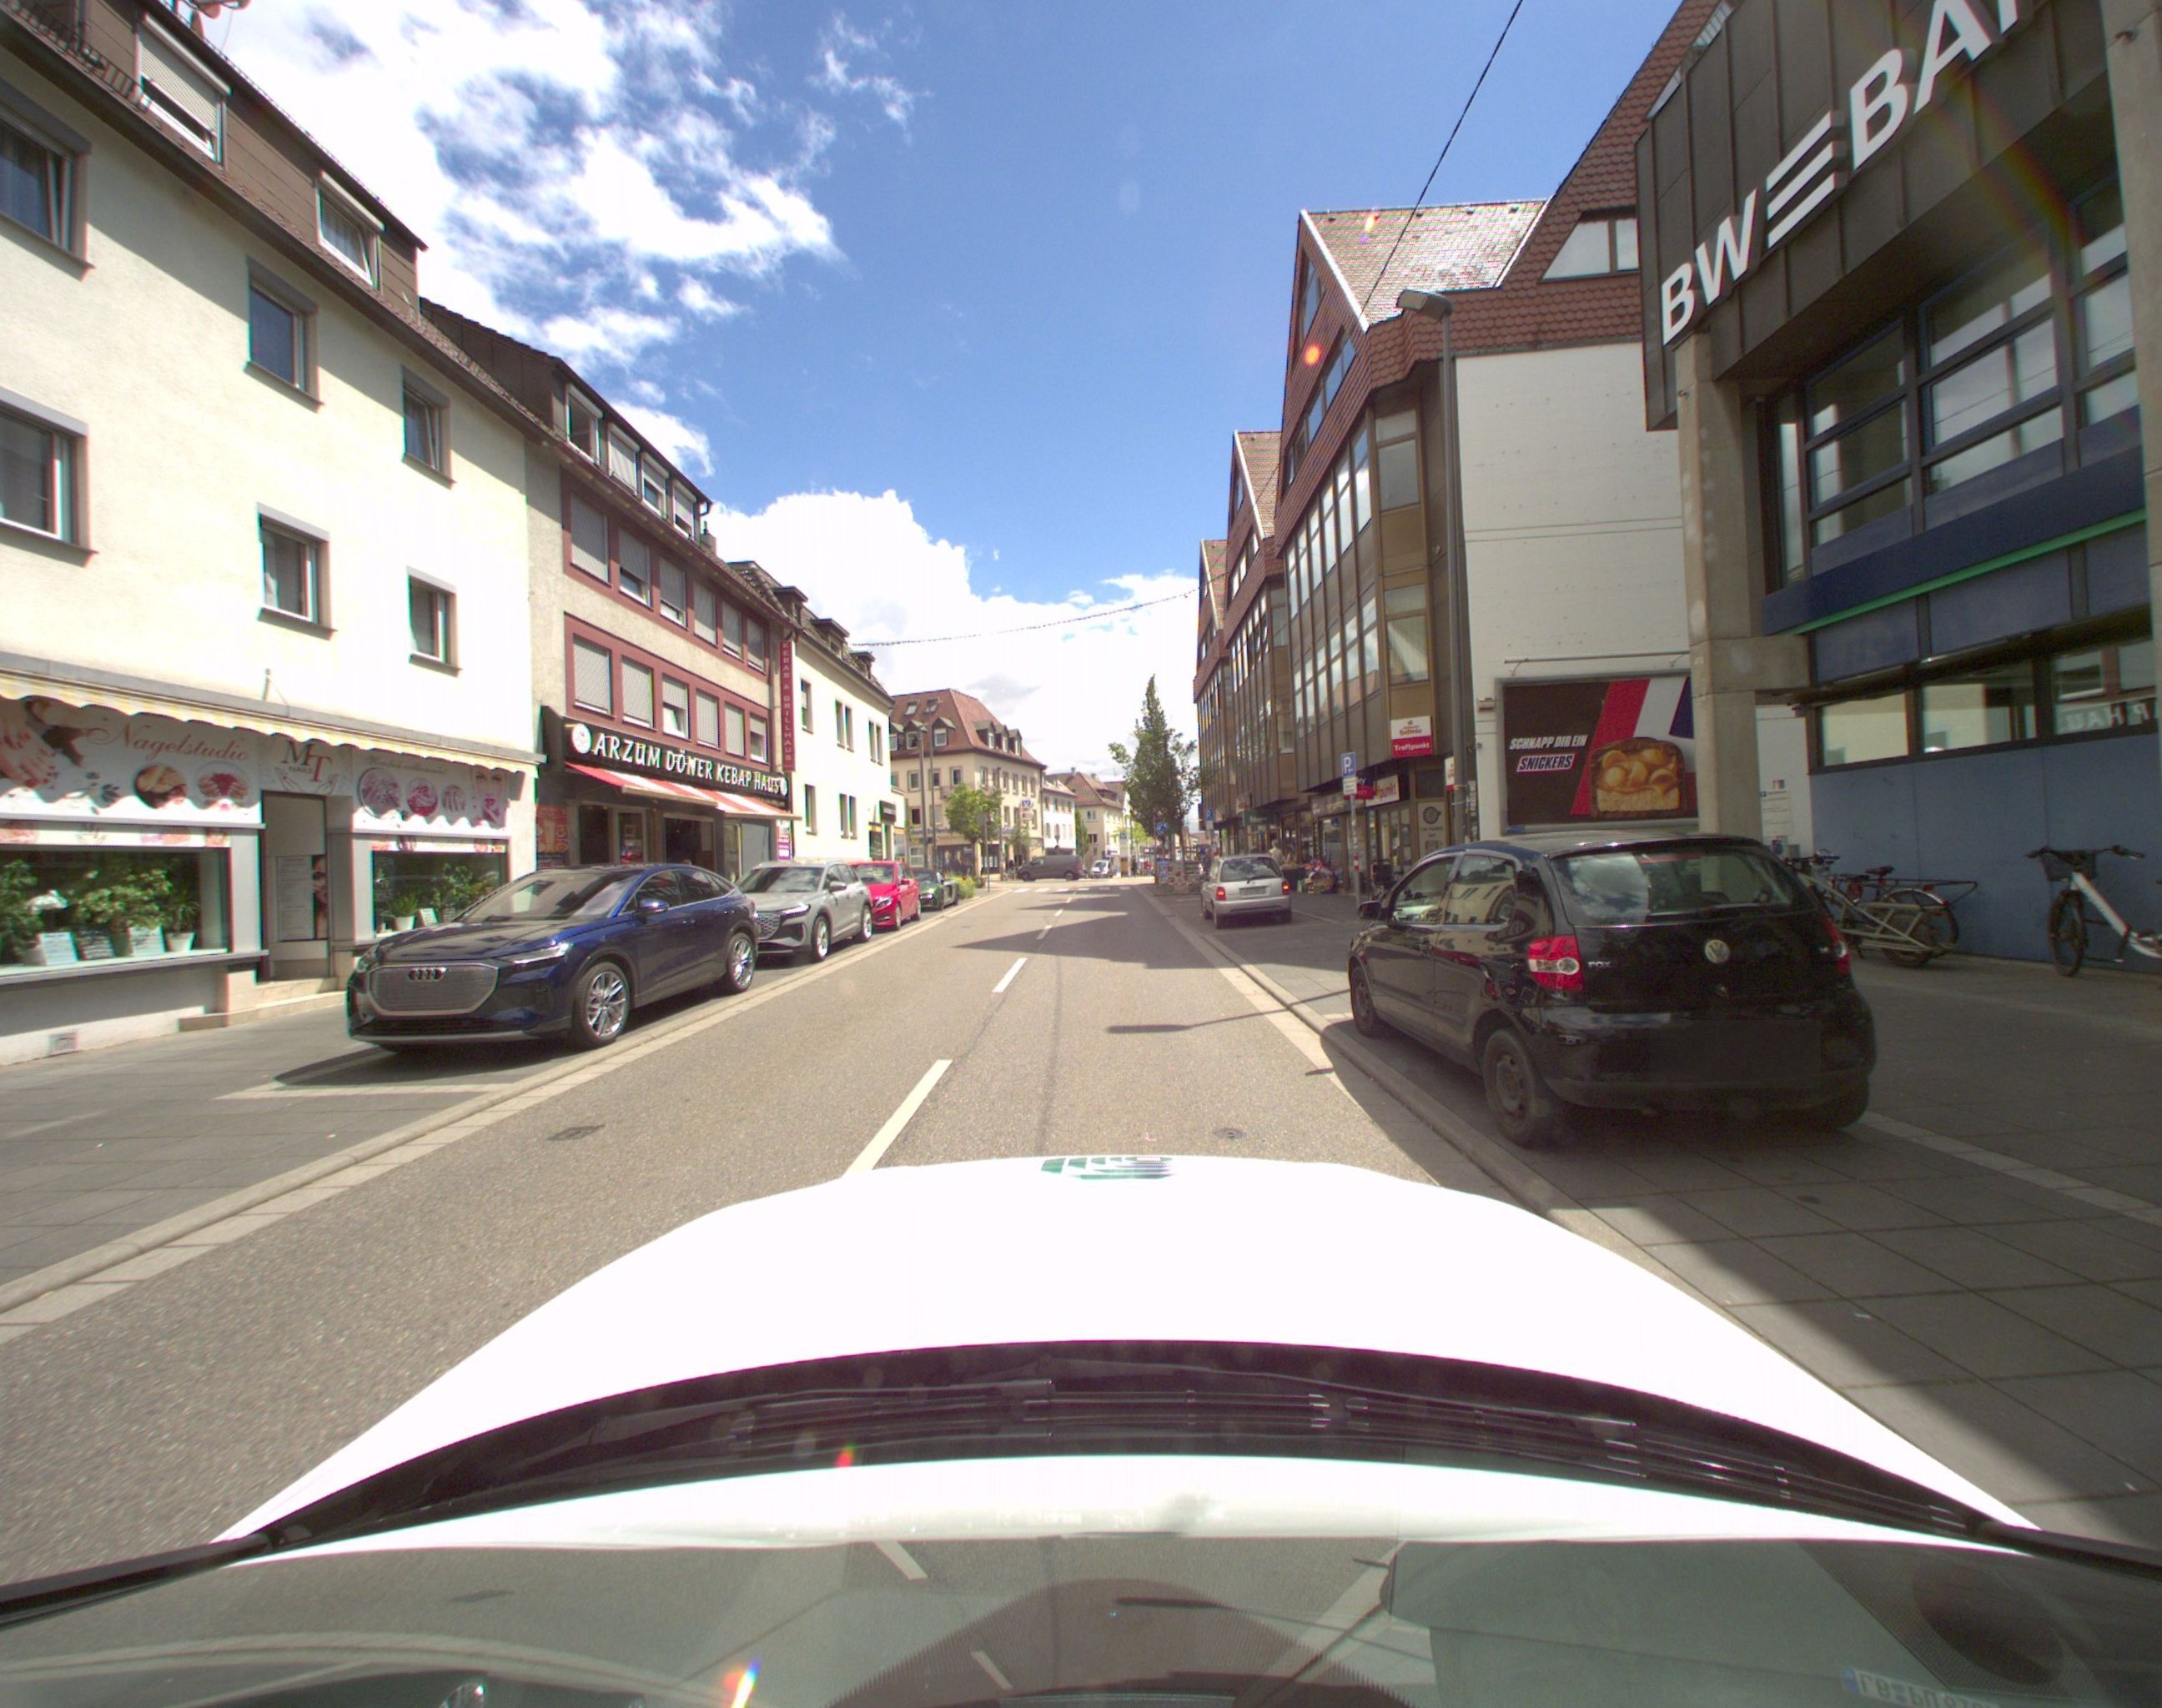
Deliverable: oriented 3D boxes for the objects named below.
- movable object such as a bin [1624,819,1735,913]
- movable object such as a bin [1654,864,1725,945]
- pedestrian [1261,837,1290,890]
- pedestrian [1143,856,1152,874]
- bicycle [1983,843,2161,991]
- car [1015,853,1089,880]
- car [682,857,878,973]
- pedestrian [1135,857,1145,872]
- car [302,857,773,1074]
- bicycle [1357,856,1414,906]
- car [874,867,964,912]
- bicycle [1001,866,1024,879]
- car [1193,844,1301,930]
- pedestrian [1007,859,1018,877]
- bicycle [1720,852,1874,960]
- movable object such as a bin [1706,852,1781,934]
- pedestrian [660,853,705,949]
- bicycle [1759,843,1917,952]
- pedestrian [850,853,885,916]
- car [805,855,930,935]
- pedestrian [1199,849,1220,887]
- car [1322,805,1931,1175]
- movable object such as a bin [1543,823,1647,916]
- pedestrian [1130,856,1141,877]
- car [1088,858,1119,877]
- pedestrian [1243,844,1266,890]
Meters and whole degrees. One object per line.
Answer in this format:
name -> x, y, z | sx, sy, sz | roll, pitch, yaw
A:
movable object such as a bin -> 10.205, 0.204, 13.937 | 1.137, 1.528, 1.033 | -1, -1, 4
movable object such as a bin -> 7.702, 0.624, 10.325 | 0.485, 0.999, 0.554 | -1, -1, 4
pedestrian -> 6.360, 0.319, 26.692 | 0.658, 1.706, 0.642 | 0, -1, -22
pedestrian -> 6.736, 1.086, 82.681 | 0.722, 1.764, 0.751 | -1, -1, 12
bicycle -> 8.399, 0.476, 6.546 | 0.423, 1.119, 1.742 | -1, -1, 4
car -> -2.087, 0.932, 59.414 | 4.949, 1.848, 2.054 | -1, -1, 12
car -> -4.928, 0.891, 14.054 | 1.794, 1.604, 4.348 | -2, 0, -2
pedestrian -> 6.365, 1.135, 88.265 | 0.751, 1.579, 0.722 | -1, -1, -30
car -> -5.009, 0.864, 8.445 | 1.792, 1.598, 4.390 | -2, 0, 2
bicycle -> 6.733, 0.589, 18.077 | 0.717, 1.047, 1.477 | -1, -1, 2
car -> -4.990, 1.052, 25.680 | 1.812, 1.224, 4.524 | 0, 0, 1
bicycle -> -5.406, 1.452, 64.272 | 1.619, 1.031, 0.570 | -1, -1, 16
car -> 3.438, 0.634, 17.518 | 1.603, 1.495, 3.797 | -6, 0, 3
pedestrian -> -5.886, 1.212, 69.837 | 0.620, 1.532, 0.863 | -1, -1, 25
bicycle -> 7.921, 0.529, 9.095 | 0.423, 1.081, 1.503 | -3, 0, 4
movable object such as a bin -> 8.348, 0.486, 10.273 | 0.485, 0.999, 0.554 | -1, -1, 4
pedestrian -> -7.056, 0.821, 14.442 | 0.499, 1.648, 0.574 | -1, -1, 0
bicycle -> 8.425, 0.462, 9.141 | 0.423, 1.119, 1.503 | -1, -1, 4
pedestrian -> -5.696, 0.815, 21.758 | 0.683, 1.648, 0.780 | -1, -1, 3
car -> -4.883, 0.866, 19.228 | 1.794, 1.604, 4.217 | -2, 0, 0
pedestrian -> 5.467, 0.597, 34.738 | 0.781, 1.615, 0.800 | -1, -1, 1
car -> 2.931, 0.599, 5.453 | 1.603, 1.532, 3.797 | -3, 0, 3
movable object such as a bin -> 8.795, 0.268, 14.001 | 1.137, 1.528, 1.033 | -1, -1, 4
pedestrian -> 4.565, 1.033, 68.025 | 0.865, 1.708, 0.531 | -1, -1, 4
car -> 2.127, 1.269, 75.076 | 1.979, 1.689, 4.015 | -1, -1, 14
pedestrian -> 6.953, 0.537, 32.652 | 0.734, 1.814, 0.712 | -1, -1, 1
